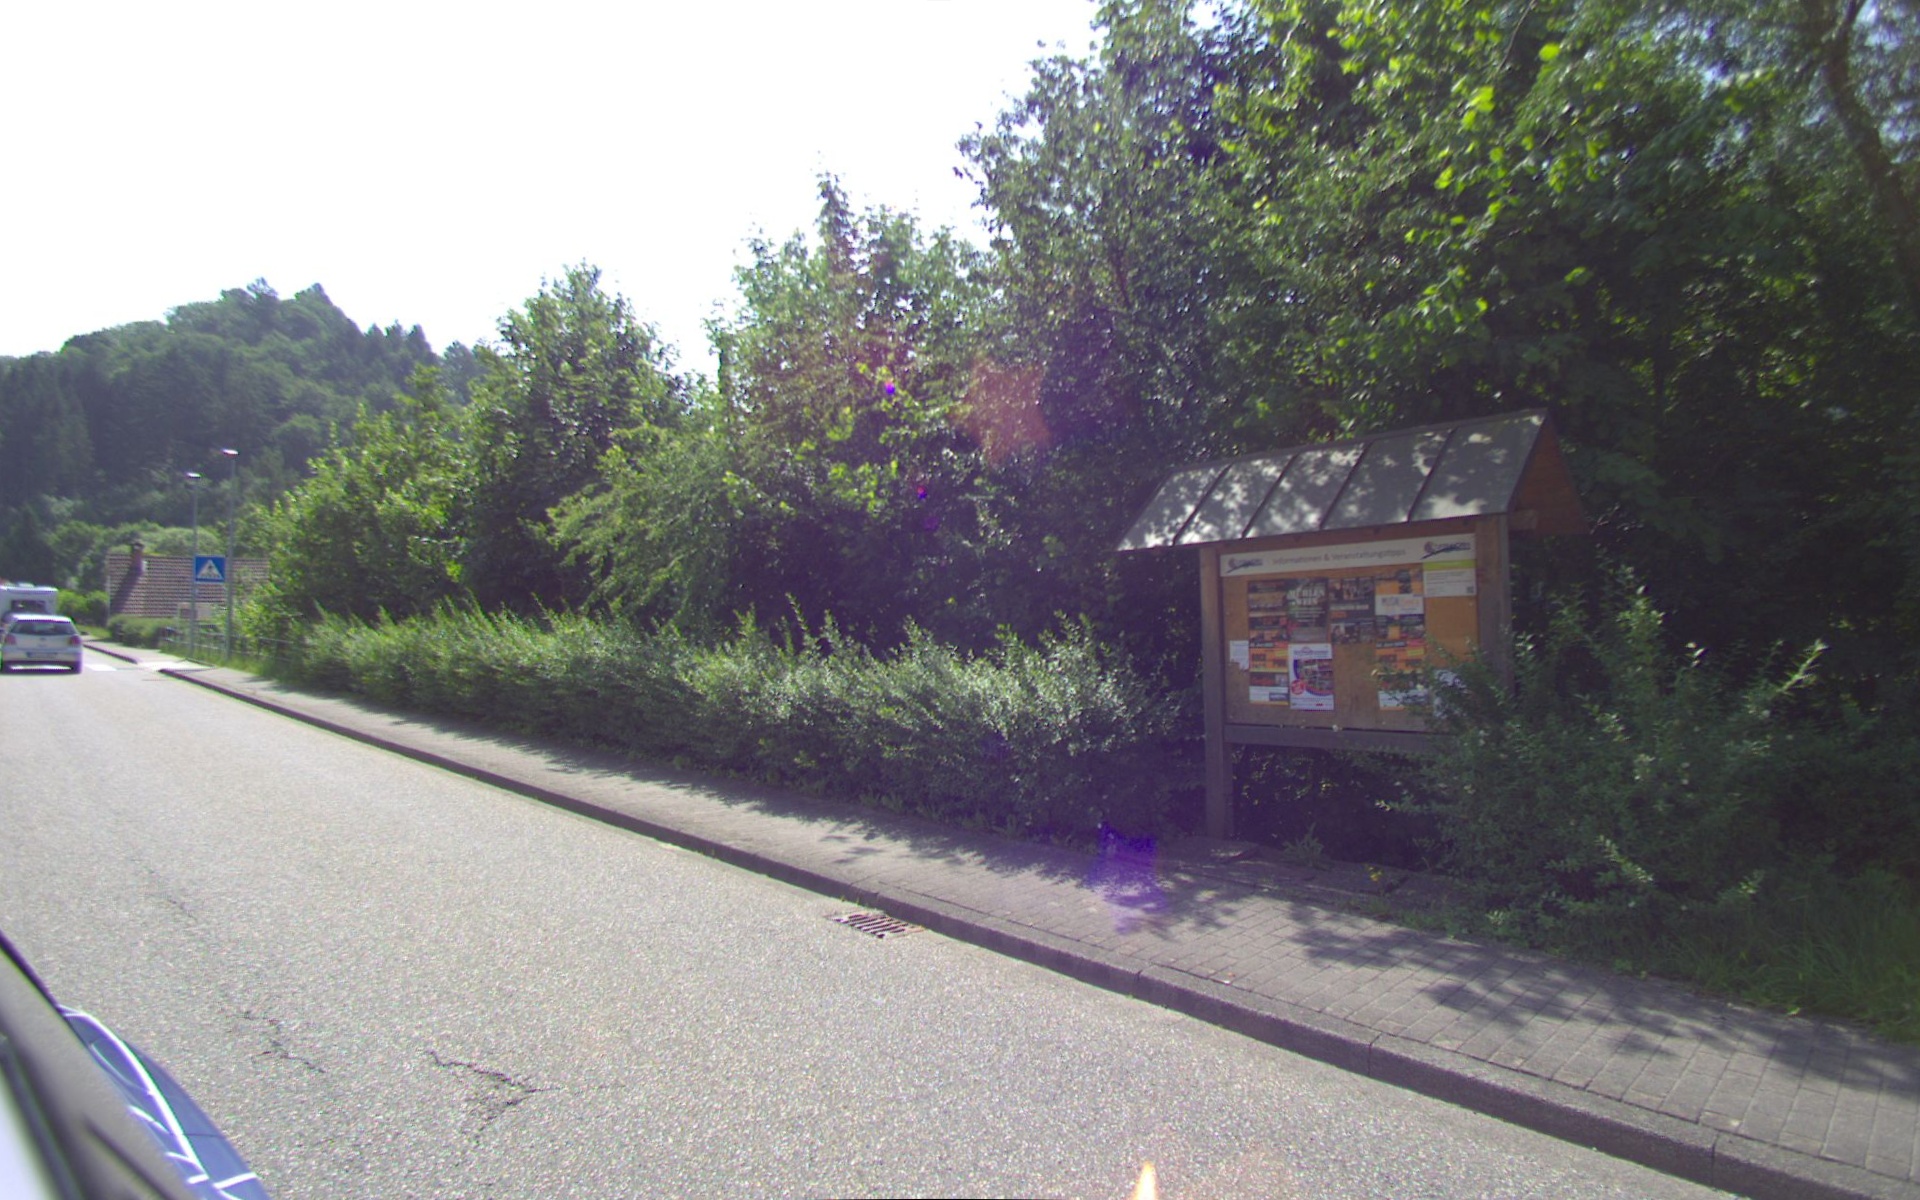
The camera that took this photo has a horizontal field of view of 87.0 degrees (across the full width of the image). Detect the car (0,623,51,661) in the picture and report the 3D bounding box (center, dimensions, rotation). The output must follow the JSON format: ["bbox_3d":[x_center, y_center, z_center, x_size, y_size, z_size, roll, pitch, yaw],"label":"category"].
[{"bbox_3d":[-38.931,1.706,41.973,1.586,1.416,3.830,6,-4,-44],"label":"car"}]

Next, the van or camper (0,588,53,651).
[{"bbox_3d":[-48.839,1.052,52.378,2.331,2.975,8.057,4,-4,-44],"label":"van or camper"}]

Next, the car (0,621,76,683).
[{"bbox_3d":[-24.404,1.342,26.624,1.571,1.494,3.761,5,-5,-42],"label":"car"}]

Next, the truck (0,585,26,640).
[{"bbox_3d":[-67.511,0.814,70.161,8.184,3.609,2.618,0,-4,39],"label":"truck"}]
